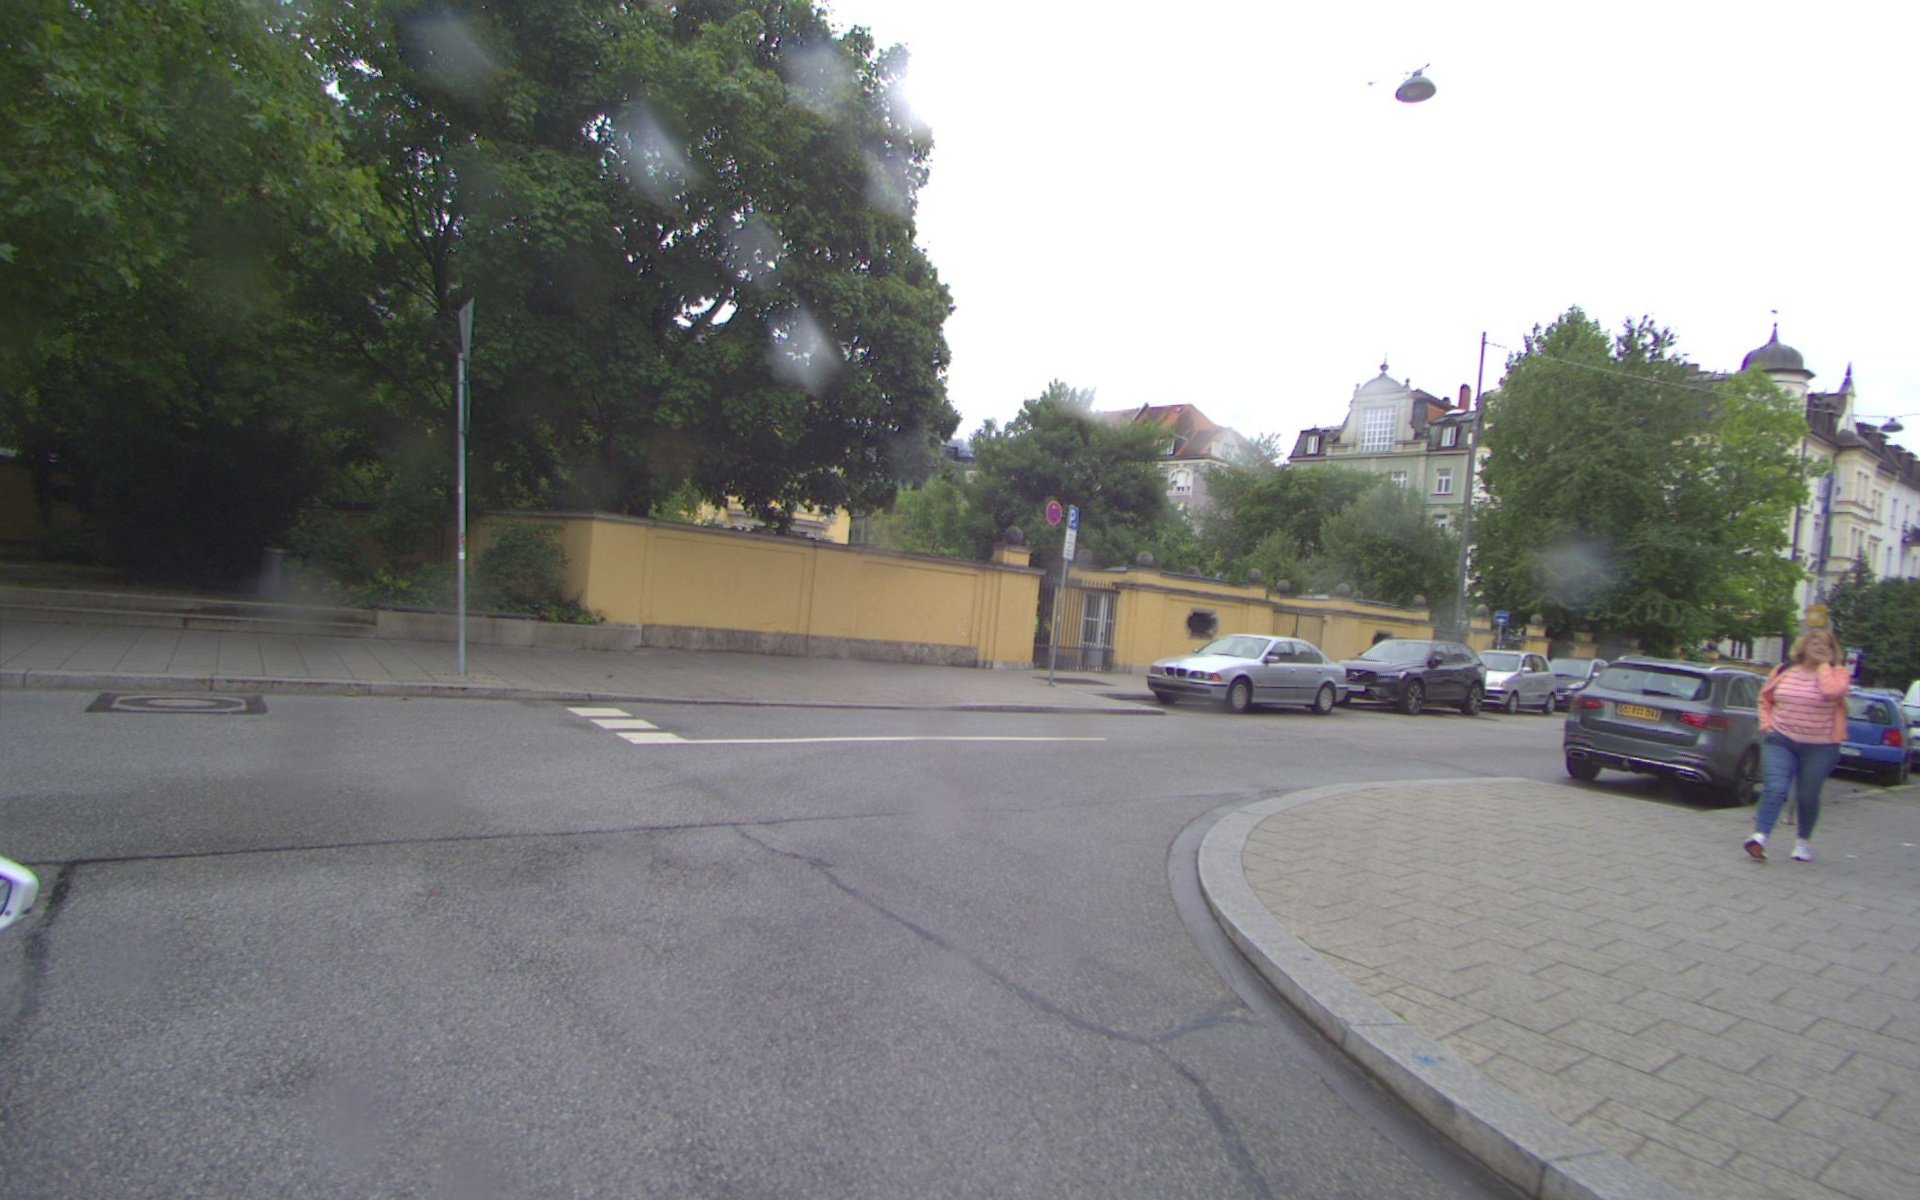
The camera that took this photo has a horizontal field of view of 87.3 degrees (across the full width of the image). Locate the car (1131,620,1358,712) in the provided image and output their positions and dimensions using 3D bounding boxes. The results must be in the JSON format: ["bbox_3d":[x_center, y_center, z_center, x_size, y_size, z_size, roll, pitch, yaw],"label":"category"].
[{"bbox_3d":[5.482,1.285,19.099,4.534,1.420,1.805,5,1,-39],"label":"car"}]

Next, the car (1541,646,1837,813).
[{"bbox_3d":[9.571,1.609,13.084,4.382,1.637,1.872,5,1,-38],"label":"car"}]

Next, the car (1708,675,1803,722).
[{"bbox_3d":[29.158,3.615,36.841,4.031,1.463,1.756,5,1,-38],"label":"car"}]

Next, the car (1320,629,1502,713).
[{"bbox_3d":[10.200,1.625,22.605,4.534,1.550,1.805,5,1,-39],"label":"car"}]

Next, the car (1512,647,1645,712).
[{"bbox_3d":[17.894,2.315,29.041,4.365,1.550,1.806,5,1,-38],"label":"car"}]

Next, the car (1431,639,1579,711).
[{"bbox_3d":[14.202,1.973,26.114,4.367,1.550,1.805,5,1,-40],"label":"car"}]

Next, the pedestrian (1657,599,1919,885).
[{"bbox_3d":[6.276,1.002,7.545,1.077,1.897,1.204,5,1,-24],"label":"pedestrian"}]

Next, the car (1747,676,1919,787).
[{"bbox_3d":[15.749,2.261,17.714,4.382,1.483,1.872,5,1,-38],"label":"car"}]

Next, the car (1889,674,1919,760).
[{"bbox_3d":[23.579,2.844,23.561,4.382,1.877,1.872,5,2,-38],"label":"car"}]

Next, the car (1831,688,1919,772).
[{"bbox_3d":[19.536,2.660,20.459,4.382,1.392,1.872,5,1,-38],"label":"car"}]

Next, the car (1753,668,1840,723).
[{"bbox_3d":[33.550,3.834,40.327,4.031,1.909,1.756,5,1,-38],"label":"car"}]
